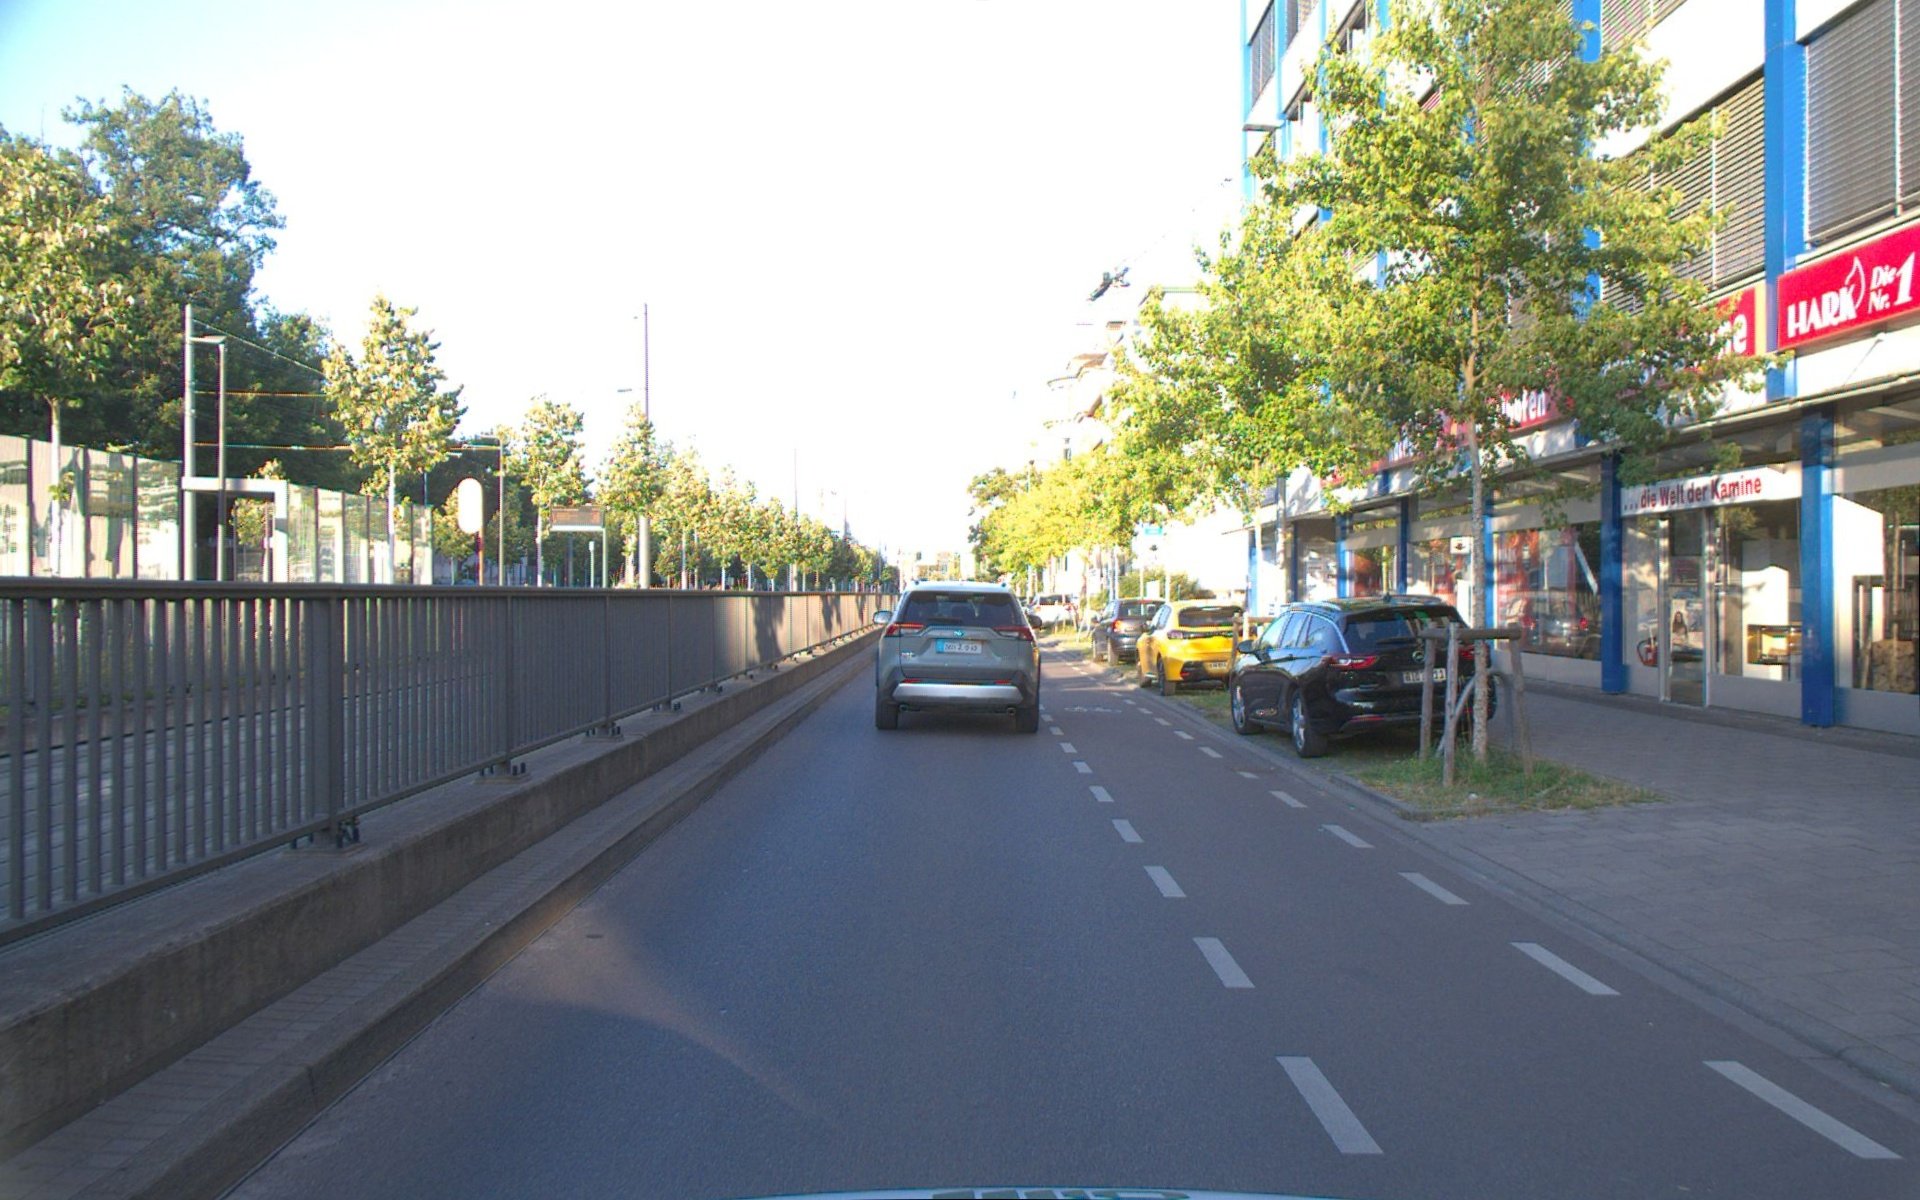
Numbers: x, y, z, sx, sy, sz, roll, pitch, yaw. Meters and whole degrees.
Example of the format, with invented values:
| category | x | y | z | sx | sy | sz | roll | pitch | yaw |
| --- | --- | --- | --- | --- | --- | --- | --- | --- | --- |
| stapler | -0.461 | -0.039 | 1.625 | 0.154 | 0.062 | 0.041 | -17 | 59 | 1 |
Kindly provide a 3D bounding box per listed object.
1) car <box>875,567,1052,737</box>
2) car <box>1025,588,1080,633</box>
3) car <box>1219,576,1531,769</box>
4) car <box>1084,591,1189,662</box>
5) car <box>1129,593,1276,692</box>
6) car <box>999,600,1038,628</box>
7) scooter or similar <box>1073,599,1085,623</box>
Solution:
| category | x | y | z | sx | sy | sz | roll | pitch | yaw |
| --- | --- | --- | --- | --- | --- | --- | --- | --- | --- |
| car | -0.037 | 0.556 | 19.527 | 1.820 | 1.744 | 4.190 | 2 | 0 | -2 |
| car | 3.712 | 0.403 | 66.810 | 1.817 | 1.736 | 4.252 | 0 | 0 | -2 |
| car | 4.080 | 0.644 | 17.160 | 1.783 | 1.594 | 4.808 | -4 | 0 | -2 |
| car | 3.949 | 0.572 | 37.597 | 1.782 | 1.480 | 4.126 | -1 | 0 | -2 |
| car | 3.920 | 0.650 | 27.331 | 1.649 | 1.480 | 4.128 | -1 | 0 | -2 |
| car | 3.378 | 0.810 | 96.178 | 1.757 | 1.496 | 4.442 | -3 | 0 | -3 |
| scooter or similar | 6.327 | 0.602 | 88.011 | 0.481 | 1.280 | 1.207 | 1 | -1 | -4 |
